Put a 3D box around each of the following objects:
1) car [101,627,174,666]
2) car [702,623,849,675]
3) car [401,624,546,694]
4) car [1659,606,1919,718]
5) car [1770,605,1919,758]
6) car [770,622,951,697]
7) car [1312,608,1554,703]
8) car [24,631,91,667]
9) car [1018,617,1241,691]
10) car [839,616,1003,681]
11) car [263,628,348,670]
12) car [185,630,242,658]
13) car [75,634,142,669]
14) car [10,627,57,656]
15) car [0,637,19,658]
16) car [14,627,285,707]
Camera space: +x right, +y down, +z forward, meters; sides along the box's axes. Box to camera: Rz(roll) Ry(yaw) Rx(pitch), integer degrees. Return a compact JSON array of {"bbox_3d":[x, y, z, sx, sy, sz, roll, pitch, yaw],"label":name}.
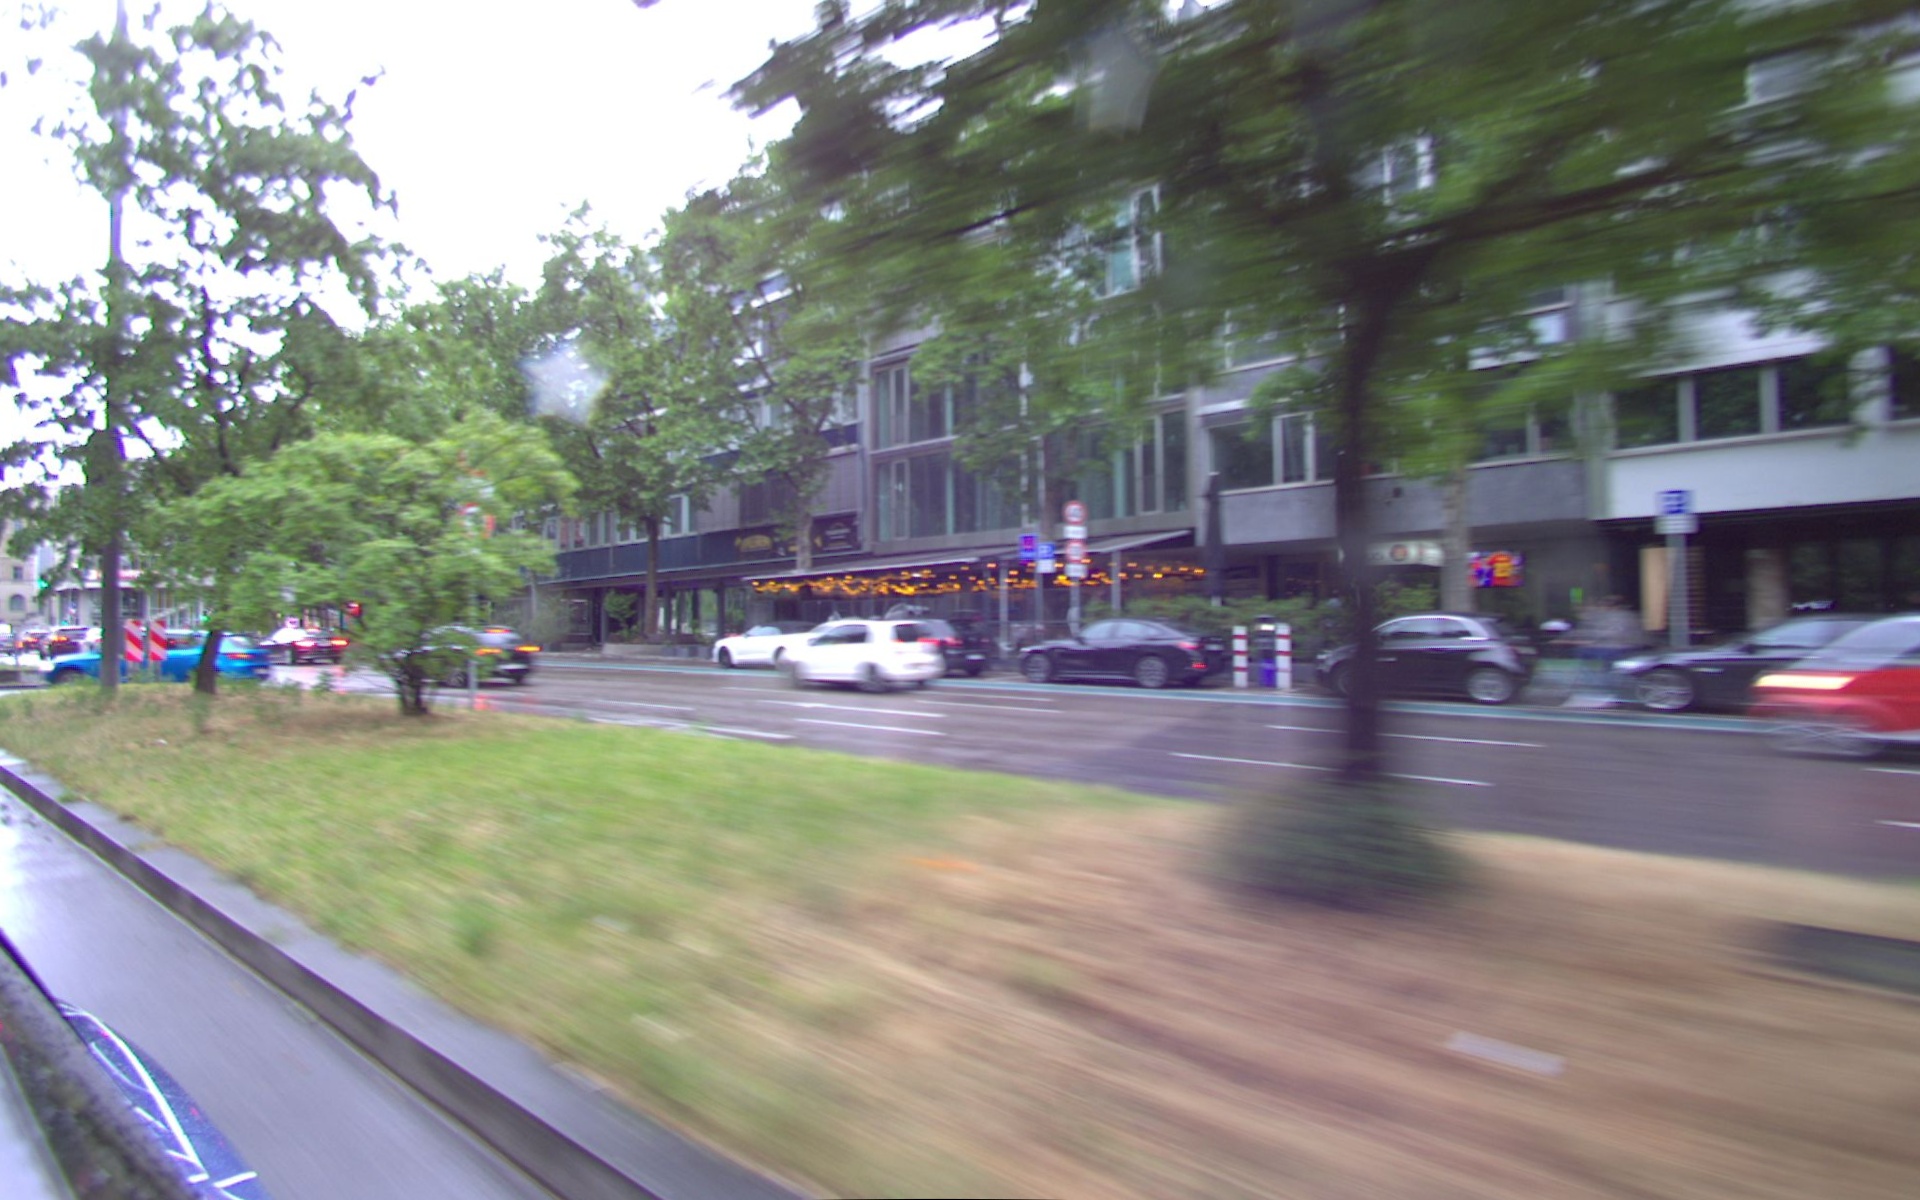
[{"bbox_3d":[-35.416,1.964,43.537,4.093,1.487,1.731,-1,0,41],"label":"car"},{"bbox_3d":[-5.399,1.418,29.216,4.679,1.364,1.543,-3,-1,41],"label":"car"},{"bbox_3d":[-12.004,1.381,24.863,4.093,1.487,1.731,-1,0,41],"label":"car"},{"bbox_3d":[12.523,0.802,13.671,4.900,1.420,1.676,-3,-2,40],"label":"car"},{"bbox_3d":[9.965,0.791,10.190,2.730,1.474,1.478,-2,-2,42],"label":"car"},{"bbox_3d":[-2.161,1.232,21.561,3.640,1.440,1.824,-3,-2,40],"label":"car"},{"bbox_3d":[8.130,0.927,17.512,3.457,1.480,1.676,-3,-2,40],"label":"car"},{"bbox_3d":[-47.733,2.602,53.468,5.102,1.780,1.818,-2,-2,39],"label":"car"},{"bbox_3d":[3.518,1.120,21.567,4.453,1.420,1.676,-3,-2,40],"label":"car"},{"bbox_3d":[-1.038,1.214,25.695,3.997,1.519,1.818,-3,-2,40],"label":"car"},{"bbox_3d":[-25.734,1.869,39.753,4.093,1.487,1.731,-1,0,41],"label":"car"},{"bbox_3d":[-43.428,2.565,58.847,3.996,1.577,1.735,-2,-2,40],"label":"car"},{"bbox_3d":[-40.998,2.450,48.694,4.829,1.585,1.717,-3,-2,41],"label":"car"},{"bbox_3d":[-66.624,3.000,72.758,4.088,2.000,1.734,-2,-2,36],"label":"car"},{"bbox_3d":[-63.565,3.130,66.575,4.088,1.332,1.734,-2,-2,36],"label":"car"},{"bbox_3d":[-17.791,1.430,22.415,4.326,1.493,1.853,-2,-1,-8],"label":"car"}]
